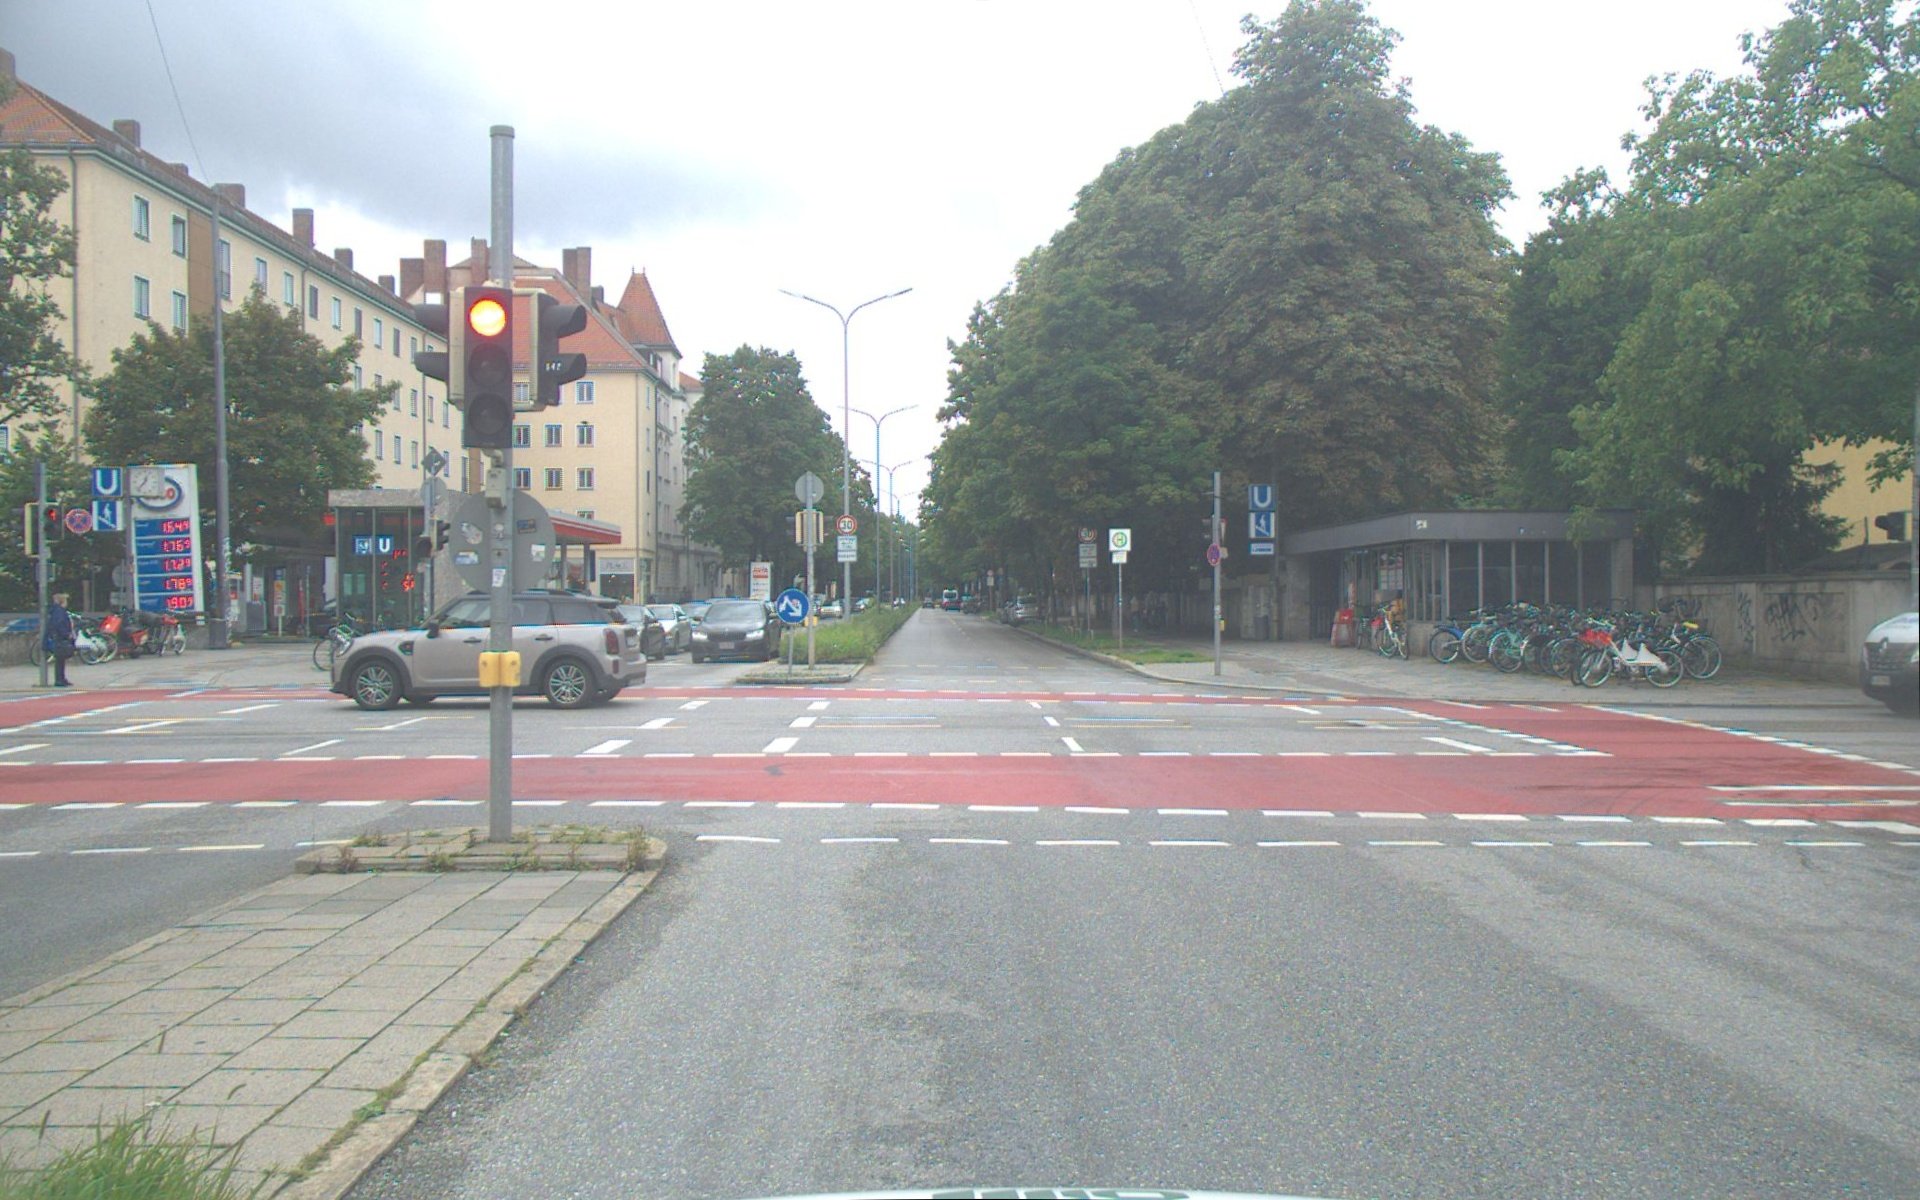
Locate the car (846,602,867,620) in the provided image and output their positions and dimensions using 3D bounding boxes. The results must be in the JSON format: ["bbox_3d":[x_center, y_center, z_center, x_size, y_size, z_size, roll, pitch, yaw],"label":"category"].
[{"bbox_3d":[-10.469,1.101,167.605,1.912,1.855,3.999,0,0,-1],"label":"car"}]

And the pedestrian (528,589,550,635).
[{"bbox_3d":[-19.251,0.548,75.650,0.715,2.049,0.834,1,-1,-1],"label":"pedestrian"}]

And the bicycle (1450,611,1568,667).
[{"bbox_3d":[10.648,0.755,32.115,2.097,1.080,0.603,0,0,7],"label":"bicycle"}]

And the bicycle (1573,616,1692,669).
[{"bbox_3d":[13.339,0.840,32.852,2.097,1.032,0.634,0,0,7],"label":"bicycle"}]

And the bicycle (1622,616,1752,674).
[{"bbox_3d":[13.380,0.827,30.486,2.097,1.032,0.634,0,0,7],"label":"bicycle"}]

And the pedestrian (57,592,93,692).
[{"bbox_3d":[-15.508,0.725,28.986,0.527,1.725,0.572,0,0,-27],"label":"pedestrian"}]

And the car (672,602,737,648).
[{"bbox_3d":[-8.779,0.822,57.073,1.724,1.486,3.999,0,0,-1],"label":"car"}]

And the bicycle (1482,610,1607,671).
[{"bbox_3d":[10.833,0.742,30.679,2.097,1.105,0.603,0,0,7],"label":"bicycle"}]

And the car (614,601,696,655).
[{"bbox_3d":[-8.846,0.791,48.240,1.724,1.486,3.999,0,0,-1],"label":"car"}]

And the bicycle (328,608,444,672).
[{"bbox_3d":[-12.289,0.853,35.431,2.238,1.327,0.694,0,0,0],"label":"bicycle"}]

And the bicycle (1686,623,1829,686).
[{"bbox_3d":[13.548,0.922,28.130,2.097,1.032,0.634,0,0,7],"label":"bicycle"}]

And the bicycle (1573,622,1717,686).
[{"bbox_3d":[11.222,0.881,27.158,2.097,1.032,0.603,0,0,7],"label":"bicycle"}]

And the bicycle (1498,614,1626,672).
[{"bbox_3d":[10.886,0.778,29.950,2.097,1.032,0.603,0,0,7],"label":"bicycle"}]

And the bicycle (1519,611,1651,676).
[{"bbox_3d":[11.026,0.771,29.238,2.097,1.120,0.603,0,0,7],"label":"bicycle"}]

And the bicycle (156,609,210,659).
[{"bbox_3d":[-18.839,0.808,40.153,0.596,1.165,1.962,0,0,-7],"label":"bicycle"}]

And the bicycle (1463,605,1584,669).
[{"bbox_3d":[10.691,0.693,31.414,2.097,1.199,0.603,0,0,7],"label":"bicycle"}]

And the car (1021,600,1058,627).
[{"bbox_3d":[4.305,0.706,89.807,1.708,1.387,3.805,0,0,-1],"label":"car"}]

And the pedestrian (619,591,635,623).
[{"bbox_3d":[-17.314,0.347,85.933,0.682,1.666,0.738,0,0,-1],"label":"pedestrian"}]

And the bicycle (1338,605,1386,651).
[{"bbox_3d":[9.443,0.636,38.940,0.545,1.032,2.014,0,0,-3],"label":"bicycle"}]

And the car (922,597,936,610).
[{"bbox_3d":[-4.195,0.496,224.975,1.819,1.713,3.999,0,0,-1],"label":"car"}]

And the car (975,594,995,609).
[{"bbox_3d":[2.416,0.161,159.907,1.708,1.452,3.898,0,0,-1],"label":"car"}]

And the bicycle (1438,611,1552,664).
[{"bbox_3d":[10.660,0.741,32.996,2.097,1.032,0.603,0,0,7],"label":"bicycle"}]

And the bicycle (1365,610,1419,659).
[{"bbox_3d":[9.442,0.736,36.206,0.545,1.032,2.014,0,0,-3],"label":"bicycle"}]

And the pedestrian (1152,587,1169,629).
[{"bbox_3d":[8.104,0.326,66.818,0.663,1.712,0.683,0,0,5],"label":"pedestrian"}]

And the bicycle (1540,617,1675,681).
[{"bbox_3d":[11.174,0.844,28.586,2.097,1.089,0.603,0,0,7],"label":"bicycle"}]

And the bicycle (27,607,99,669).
[{"bbox_3d":[-19.055,0.789,35.175,0.596,1.257,2.183,0,0,-7],"label":"bicycle"}]

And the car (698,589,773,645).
[{"bbox_3d":[-6.471,0.463,48.002,1.724,1.519,3.999,0,0,-1],"label":"car"}]

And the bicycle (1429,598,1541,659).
[{"bbox_3d":[10.680,0.578,33.711,2.097,1.240,0.603,0,0,7],"label":"bicycle"}]

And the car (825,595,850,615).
[{"bbox_3d":[-9.595,0.394,130.072,1.724,1.486,3.999,0,0,-1],"label":"car"}]

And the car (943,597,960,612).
[{"bbox_3d":[-1.014,0.564,192.423,1.884,1.713,3.999,0,0,-1],"label":"car"}]

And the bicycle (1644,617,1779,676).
[{"bbox_3d":[13.474,0.827,29.694,2.097,1.032,0.634,0,0,7],"label":"bicycle"}]

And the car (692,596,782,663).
[{"bbox_3d":[-5.380,0.679,40.264,1.724,1.519,3.999,0,0,-1],"label":"car"}]

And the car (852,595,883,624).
[{"bbox_3d":[-4.768,0.465,85.365,1.438,1.423,3.699,0,0,-1],"label":"car"}]

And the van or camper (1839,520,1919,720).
[{"bbox_3d":[14.791,0.232,21.658,5.436,2.512,2.068,0,0,3],"label":"van or camper"}]

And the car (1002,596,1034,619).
[{"bbox_3d":[3.496,0.441,99.726,1.708,1.387,3.805,0,0,-1],"label":"car"}]

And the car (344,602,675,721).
[{"bbox_3d":[-6.107,0.810,22.760,4.084,1.540,1.695,0,0,-2],"label":"car"}]

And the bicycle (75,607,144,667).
[{"bbox_3d":[-18.492,0.786,36.006,0.596,1.257,2.183,0,0,-7],"label":"bicycle"}]

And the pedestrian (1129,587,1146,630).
[{"bbox_3d":[7.151,0.338,66.786,0.663,1.712,0.683,0,0,5],"label":"pedestrian"}]

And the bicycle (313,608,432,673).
[{"bbox_3d":[-12.299,0.841,34.651,2.225,1.327,0.704,0,0,0],"label":"bicycle"}]

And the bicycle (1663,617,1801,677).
[{"bbox_3d":[13.483,0.822,28.927,2.097,1.032,0.634,0,0,7],"label":"bicycle"}]

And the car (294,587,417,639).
[{"bbox_3d":[-22.426,0.467,61.453,3.908,1.870,1.879,0,0,-4],"label":"car"}]

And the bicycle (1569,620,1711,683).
[{"bbox_3d":[11.406,0.868,27.785,2.097,1.032,0.634,0,0,7],"label":"bicycle"}]

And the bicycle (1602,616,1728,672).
[{"bbox_3d":[13.312,0.828,31.270,2.097,1.032,0.634,0,0,7],"label":"bicycle"}]

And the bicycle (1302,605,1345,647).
[{"bbox_3d":[9.282,0.655,42.276,0.545,1.032,2.014,0,0,-3],"label":"bicycle"}]
